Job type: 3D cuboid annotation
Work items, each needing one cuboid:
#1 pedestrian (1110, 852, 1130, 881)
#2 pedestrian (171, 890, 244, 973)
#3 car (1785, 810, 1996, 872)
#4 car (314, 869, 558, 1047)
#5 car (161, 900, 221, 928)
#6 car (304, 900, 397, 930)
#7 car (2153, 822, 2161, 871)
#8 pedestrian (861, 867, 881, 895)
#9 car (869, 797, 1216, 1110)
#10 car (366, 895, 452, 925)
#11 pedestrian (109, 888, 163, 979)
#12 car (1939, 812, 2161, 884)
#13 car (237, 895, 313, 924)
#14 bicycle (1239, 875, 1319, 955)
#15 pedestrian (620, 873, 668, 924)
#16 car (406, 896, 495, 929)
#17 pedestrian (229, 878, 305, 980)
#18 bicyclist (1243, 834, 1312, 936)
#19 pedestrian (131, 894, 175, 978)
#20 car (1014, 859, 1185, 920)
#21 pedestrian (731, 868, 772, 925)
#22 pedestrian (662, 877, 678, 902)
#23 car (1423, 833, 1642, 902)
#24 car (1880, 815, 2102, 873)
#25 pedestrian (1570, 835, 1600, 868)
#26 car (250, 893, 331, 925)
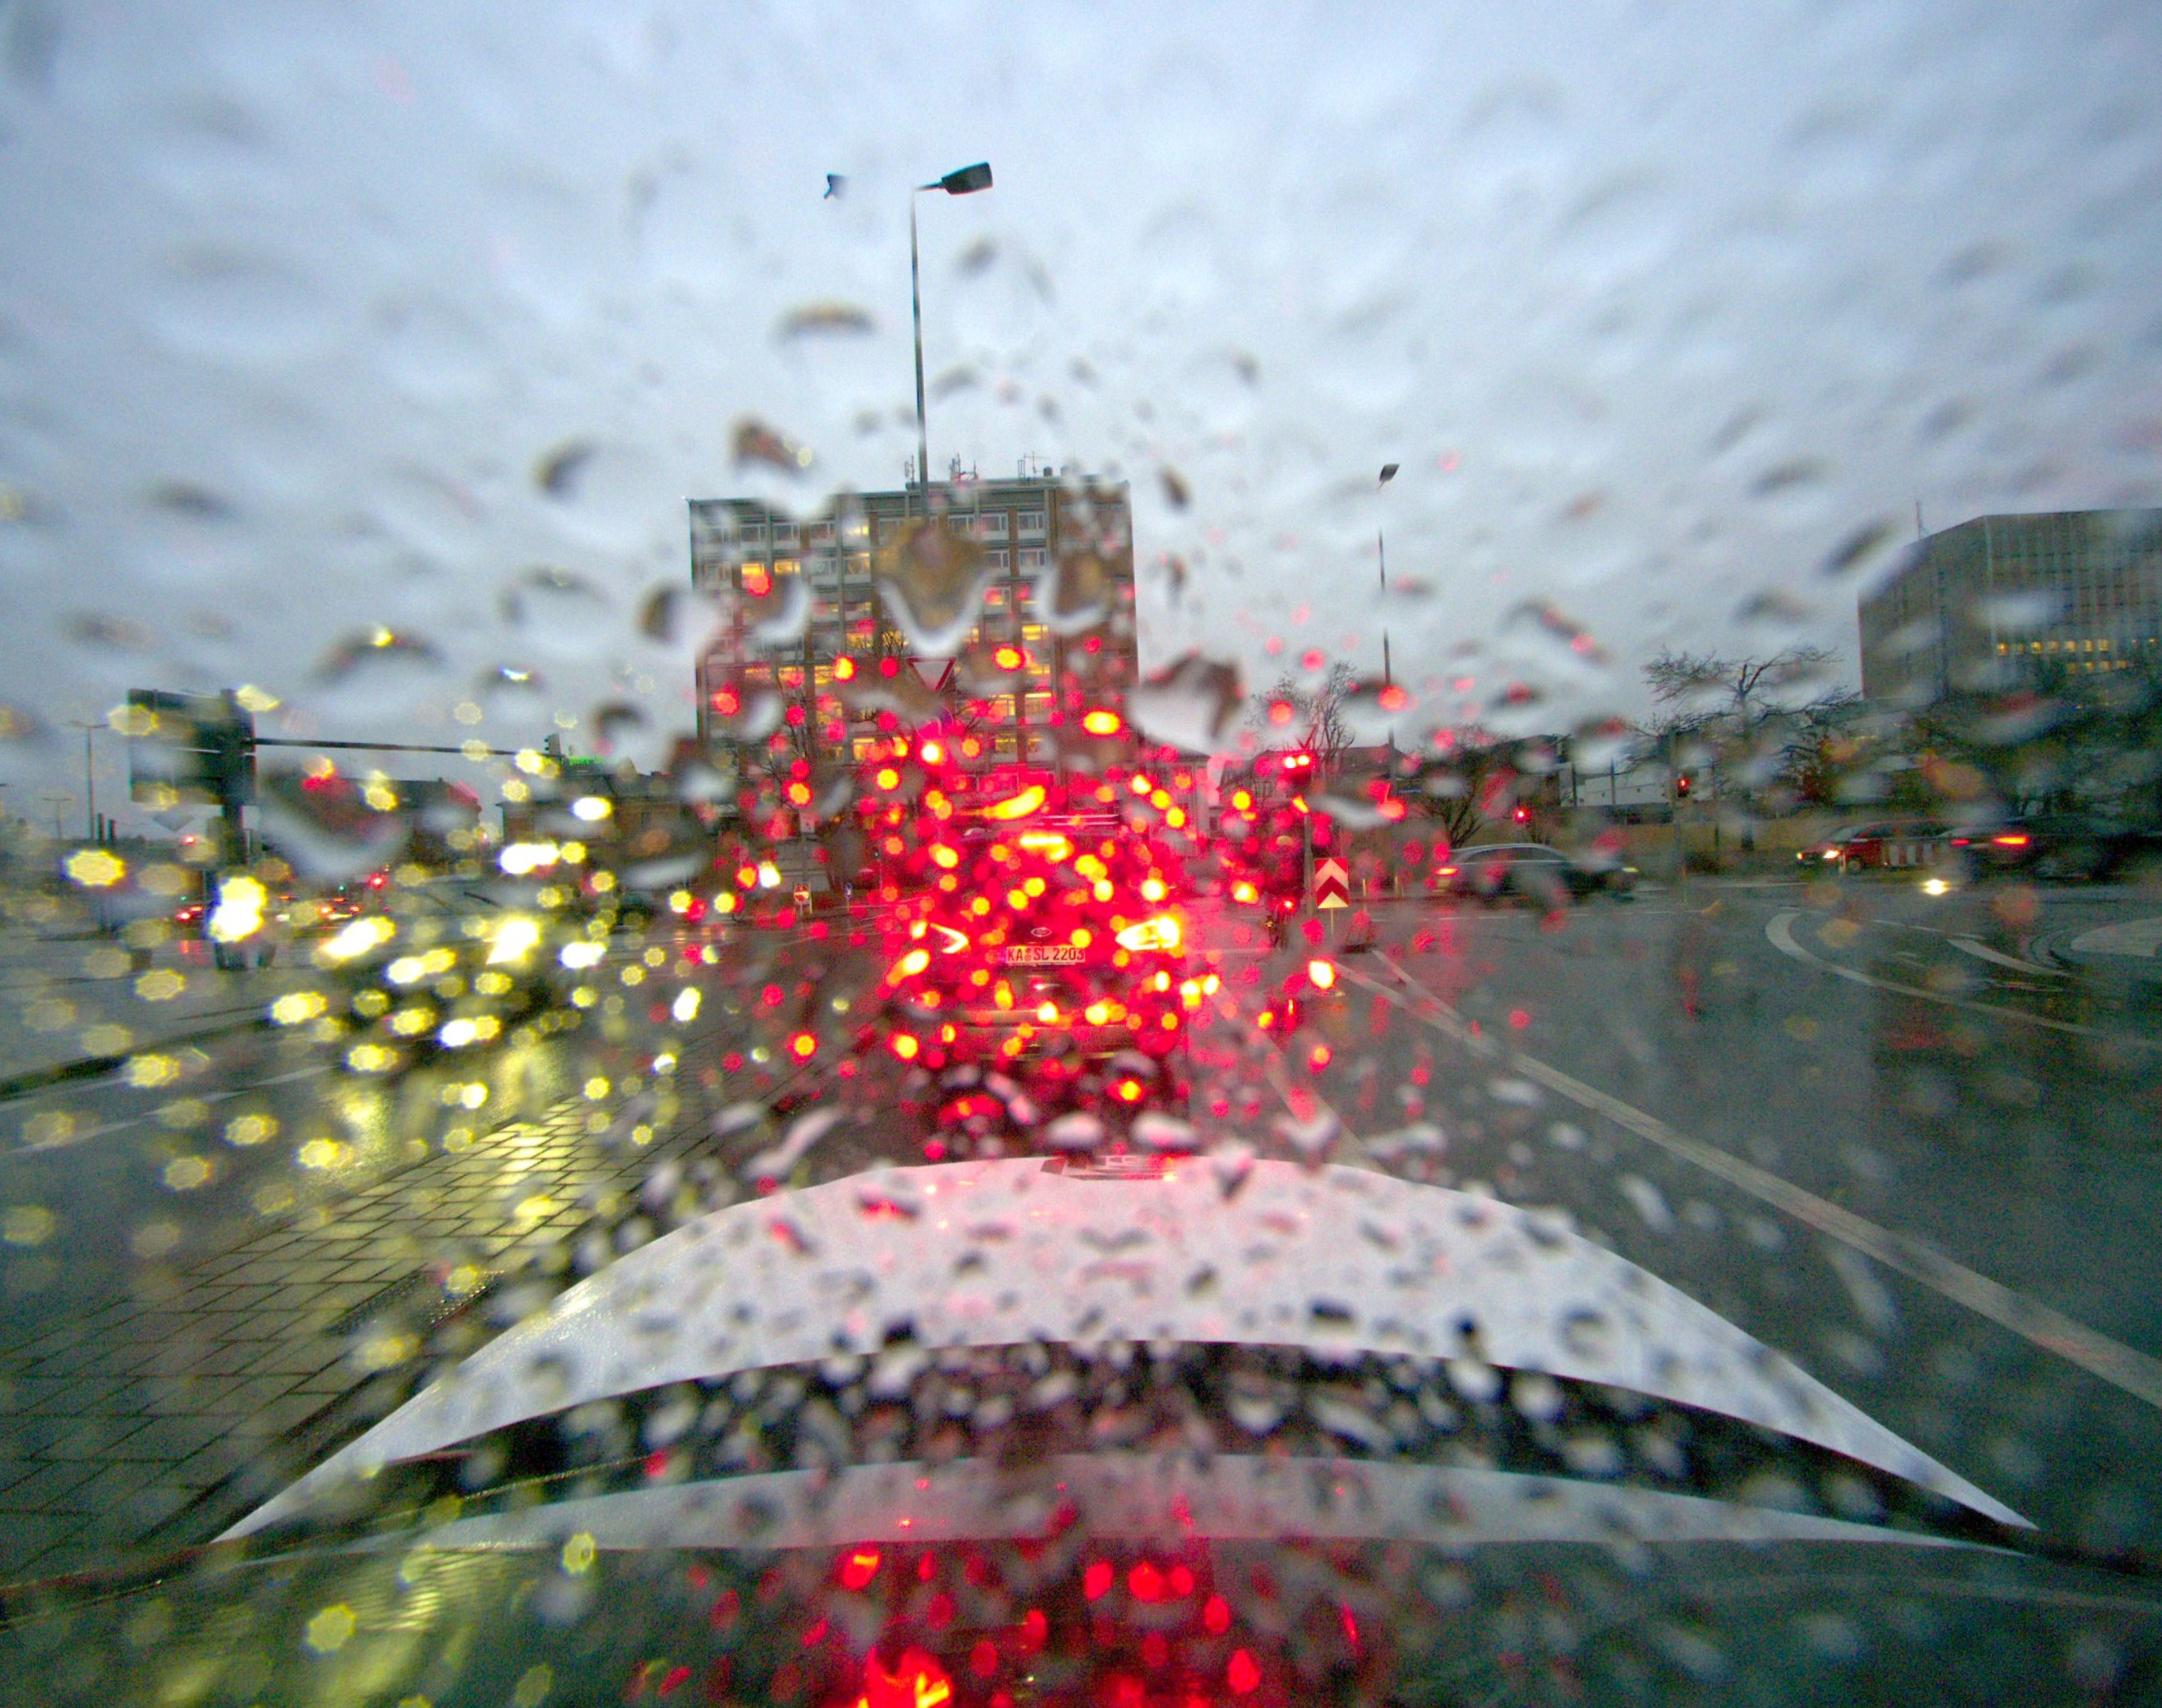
[{"bbox_3d":[2.115,0.659,44.358,0.920,1.533,1.045,-3,0,6],"label":"pedestrian"},{"bbox_3d":[-19.539,1.715,18.231,0.653,1.755,0.856,-3,0,18],"label":"pedestrian"},{"bbox_3d":[29.251,-0.439,29.592,5.295,1.880,2.051,-3,-1,4],"label":"car"},{"bbox_3d":[-7.478,1.044,9.848,1.781,1.577,3.959,-3,0,-32],"label":"car"},{"bbox_3d":[-56.166,3.764,51.398,3.948,1.568,1.838,-1,-1,32],"label":"car"},{"bbox_3d":[-43.821,3.627,48.913,1.582,1.482,3.840,-1,-1,31],"label":"car"},{"bbox_3d":[35.145,-0.349,23.946,4.390,1.477,1.814,-3,-1,6],"label":"car"},{"bbox_3d":[-12.646,1.622,49.060,0.753,1.628,0.725,-3,0,22],"label":"pedestrian"},{"bbox_3d":[-0.161,0.590,6.685,1.986,1.789,4.001,0,-1,2],"label":"car"},{"bbox_3d":[-38.403,3.180,46.614,1.496,1.461,3.453,-1,-1,31],"label":"car"},{"bbox_3d":[-20.154,1.682,17.387,0.725,1.838,0.681,-3,0,41],"label":"pedestrian"},{"bbox_3d":[23.626,-0.142,19.508,3.934,1.477,1.814,-3,-1,6],"label":"car"},{"bbox_3d":[-53.095,3.621,53.658,1.505,1.702,3.411,-1,-1,39],"label":"car"},{"bbox_3d":[2.936,0.874,12.272,0.780,1.075,1.958,0,-1,2],"label":"bicycle"},{"bbox_3d":[-16.714,1.693,31.177,0.991,1.842,1.146,-3,2,36],"label":"pedestrian"},{"bbox_3d":[-33.329,3.060,43.071,3.954,1.568,1.836,-1,-1,20],"label":"car"},{"bbox_3d":[-17.232,1.552,17.271,0.996,2.021,0.792,-3,0,-39],"label":"pedestrian"},{"bbox_3d":[2.928,0.445,12.225,0.780,1.453,1.134,0,-1,2],"label":"bicyclist"},{"bbox_3d":[-20.453,1.791,17.955,0.733,1.770,0.551,-3,0,44],"label":"pedestrian"},{"bbox_3d":[0.590,1.007,23.517,4.627,1.477,1.816,-3,-1,10],"label":"car"},{"bbox_3d":[-11.995,1.522,29.679,0.922,1.978,0.962,-3,0,8],"label":"pedestrian"},{"bbox_3d":[-27.940,2.424,55.377,0.754,1.628,0.560,-3,0,16],"label":"pedestrian"},{"bbox_3d":[11.629,0.360,21.285,4.627,1.477,1.816,-3,-1,10],"label":"car"},{"bbox_3d":[27.653,-0.271,24.878,4.390,1.477,1.814,-3,-1,6],"label":"car"},{"bbox_3d":[25.207,-0.138,40.733,0.956,1.603,0.796,-3,0,9],"label":"pedestrian"},{"bbox_3d":[-51.160,3.537,52.766,1.649,1.826,3.609,-1,-1,39],"label":"car"}]
